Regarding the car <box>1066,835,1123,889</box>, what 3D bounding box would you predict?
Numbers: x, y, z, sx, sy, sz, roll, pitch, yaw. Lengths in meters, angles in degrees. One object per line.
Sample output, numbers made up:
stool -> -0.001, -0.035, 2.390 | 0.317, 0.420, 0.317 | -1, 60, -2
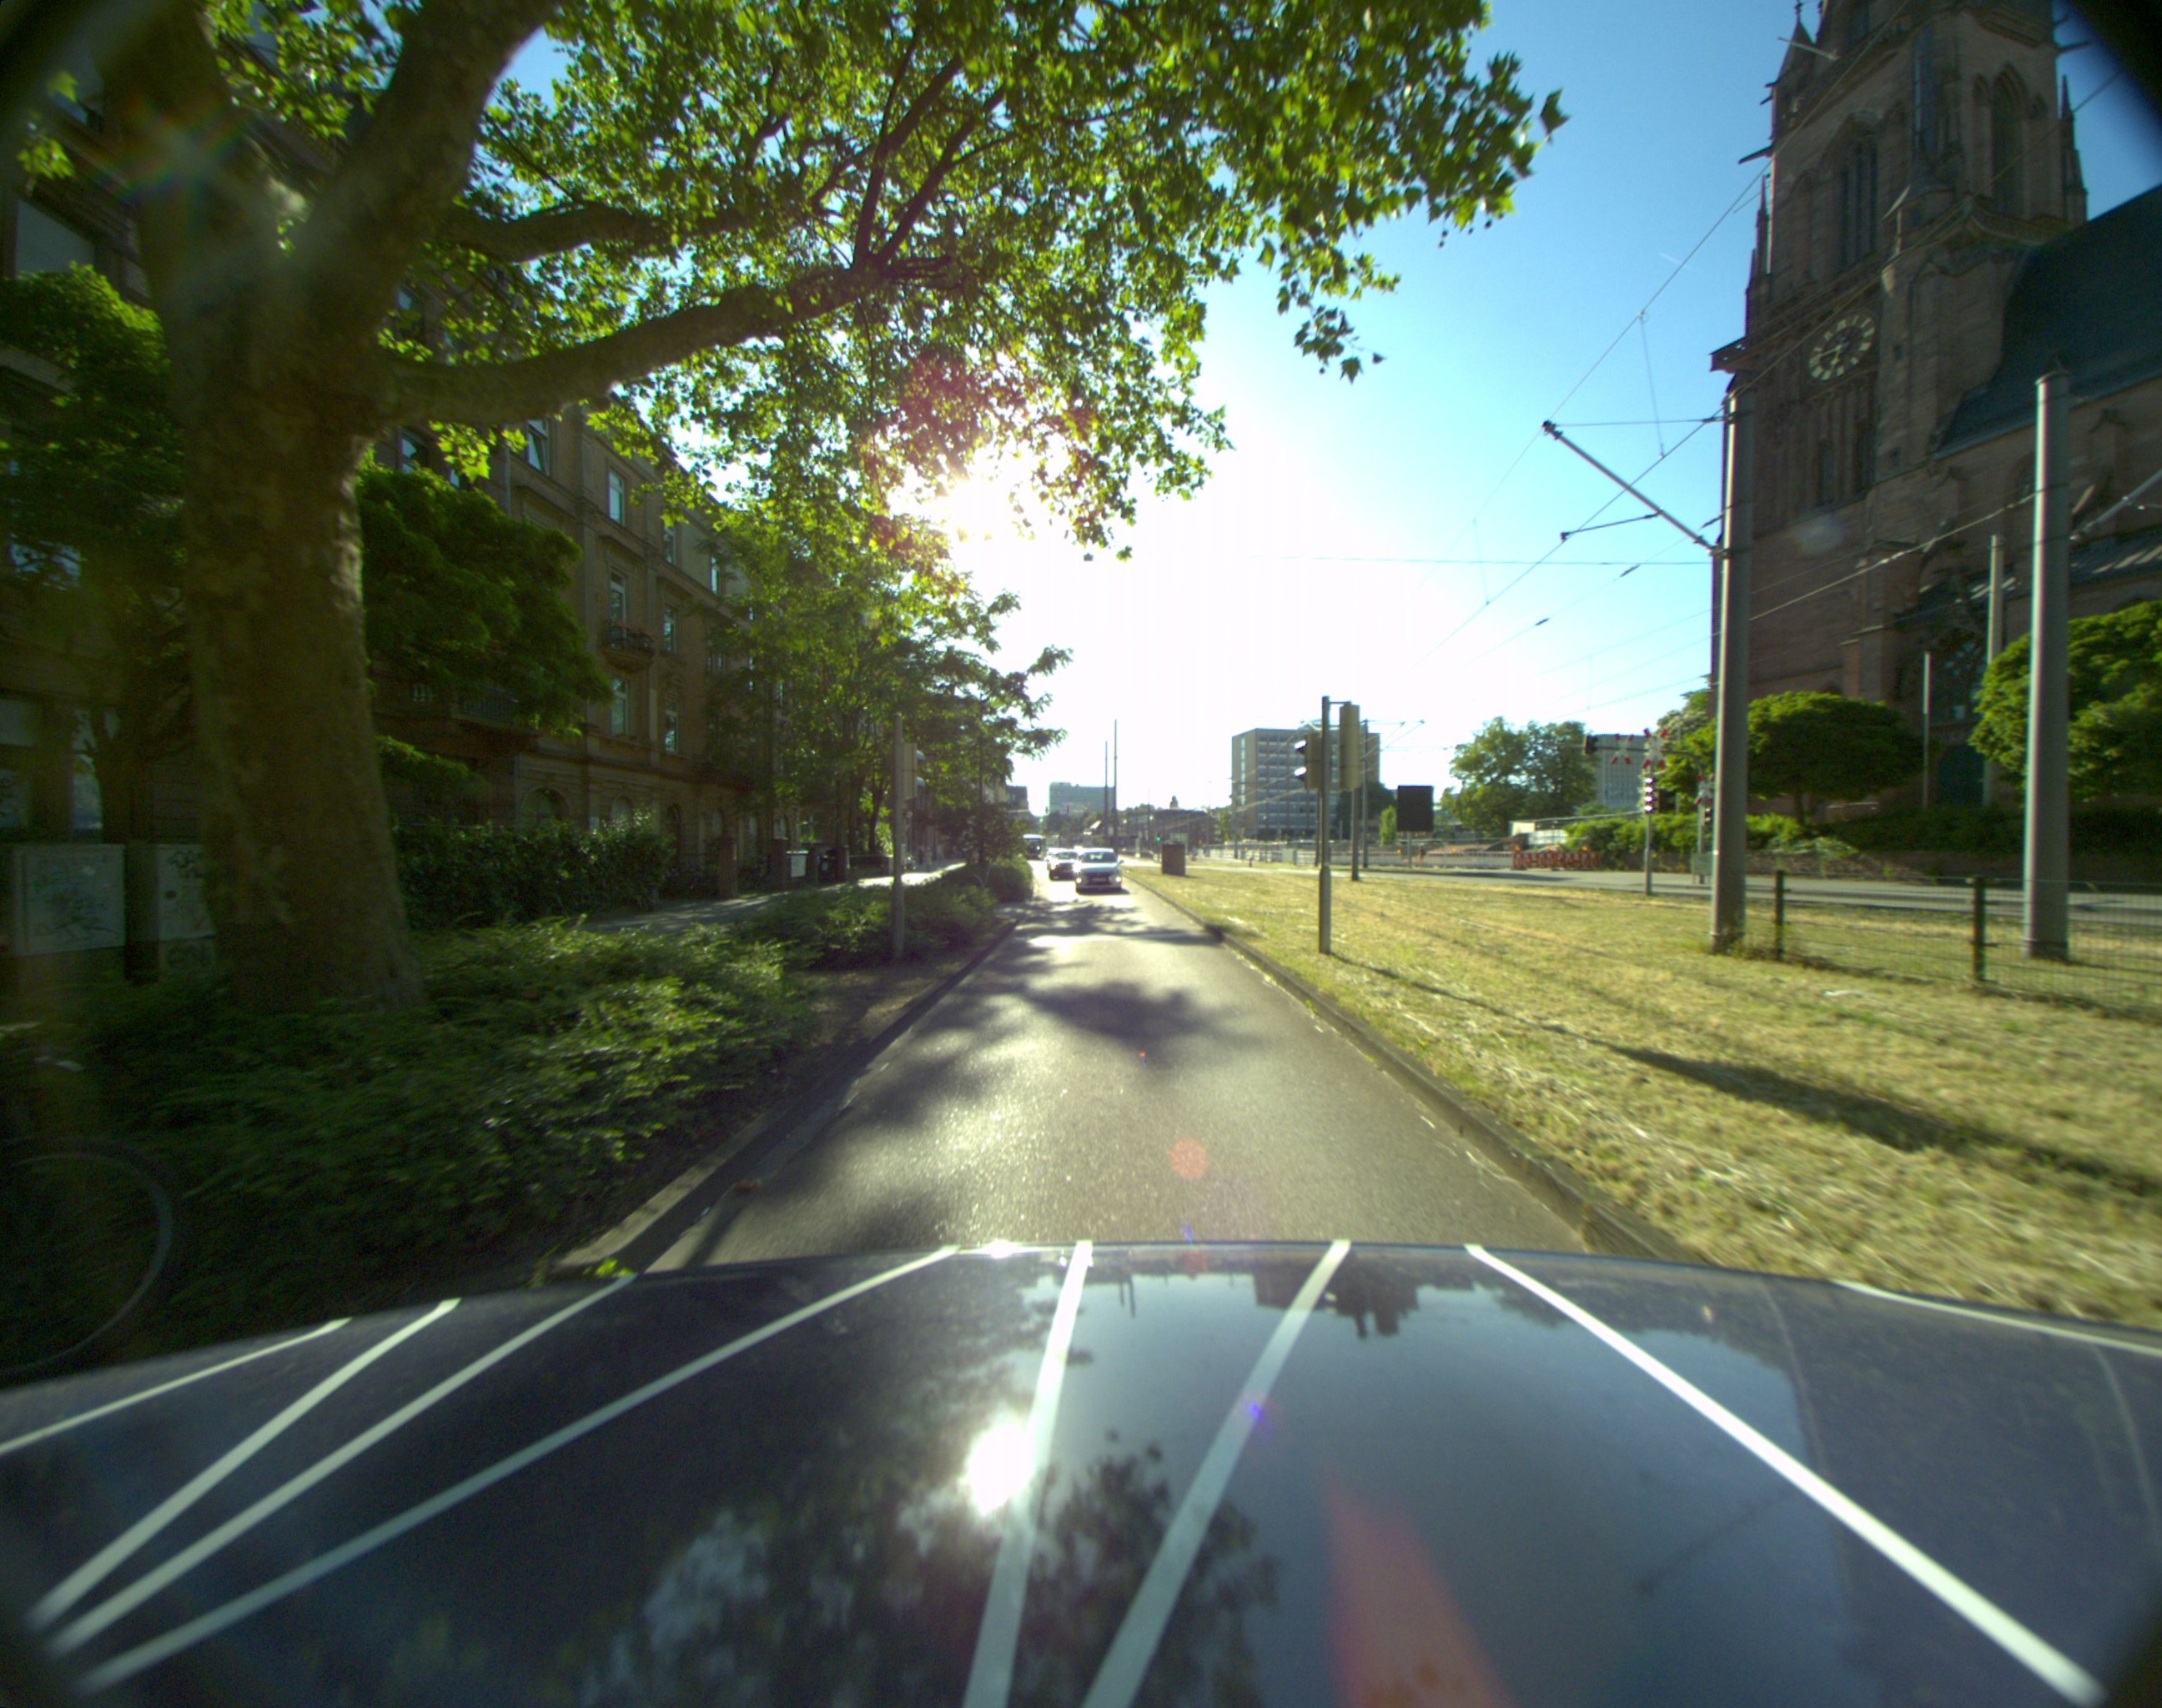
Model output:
car -> 0.476, 0.246, 27.374 | 1.823, 1.729, 3.999 | -2, 1, 1

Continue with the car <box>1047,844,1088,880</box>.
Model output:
car -> -0.614, 0.345, 37.461 | 1.823, 1.605, 3.999 | -2, 1, 1

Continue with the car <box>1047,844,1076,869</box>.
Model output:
car -> -1.307, 0.158, 52.760 | 1.823, 1.605, 3.999 | -2, 1, 1

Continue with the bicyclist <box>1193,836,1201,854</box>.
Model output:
bicyclist -> 12.426, -0.992, 81.456 | 0.775, 1.861, 0.611 | -2, 1, 18

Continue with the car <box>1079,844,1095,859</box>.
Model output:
car -> 0.781, -0.316, 91.922 | 1.823, 1.605, 3.999 | -2, 1, 1

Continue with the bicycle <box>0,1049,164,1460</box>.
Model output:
bicycle -> -3.445, 1.094, 1.765 | 1.638, 0.956, 0.337 | -3, 1, -28

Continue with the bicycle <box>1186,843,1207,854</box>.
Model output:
bicycle -> 12.364, -0.598, 81.493 | 2.063, 1.077, 0.611 | -2, 1, 17

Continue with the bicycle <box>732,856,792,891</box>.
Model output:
bicycle -> -10.663, 0.648, 25.422 | 1.737, 1.088, 0.496 | -2, 1, -13

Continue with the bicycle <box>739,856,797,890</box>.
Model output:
bicycle -> -10.871, 0.645, 26.419 | 1.737, 1.088, 0.496 | -2, 1, -13

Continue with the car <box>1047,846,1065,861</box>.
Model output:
car -> -2.815, -0.111, 85.965 | 1.823, 1.605, 3.999 | -2, 1, 1

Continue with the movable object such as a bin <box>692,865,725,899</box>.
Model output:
movable object such as a bin -> -10.282, 0.757, 20.986 | 0.604, 0.894, 0.717 | -2, 1, -11
